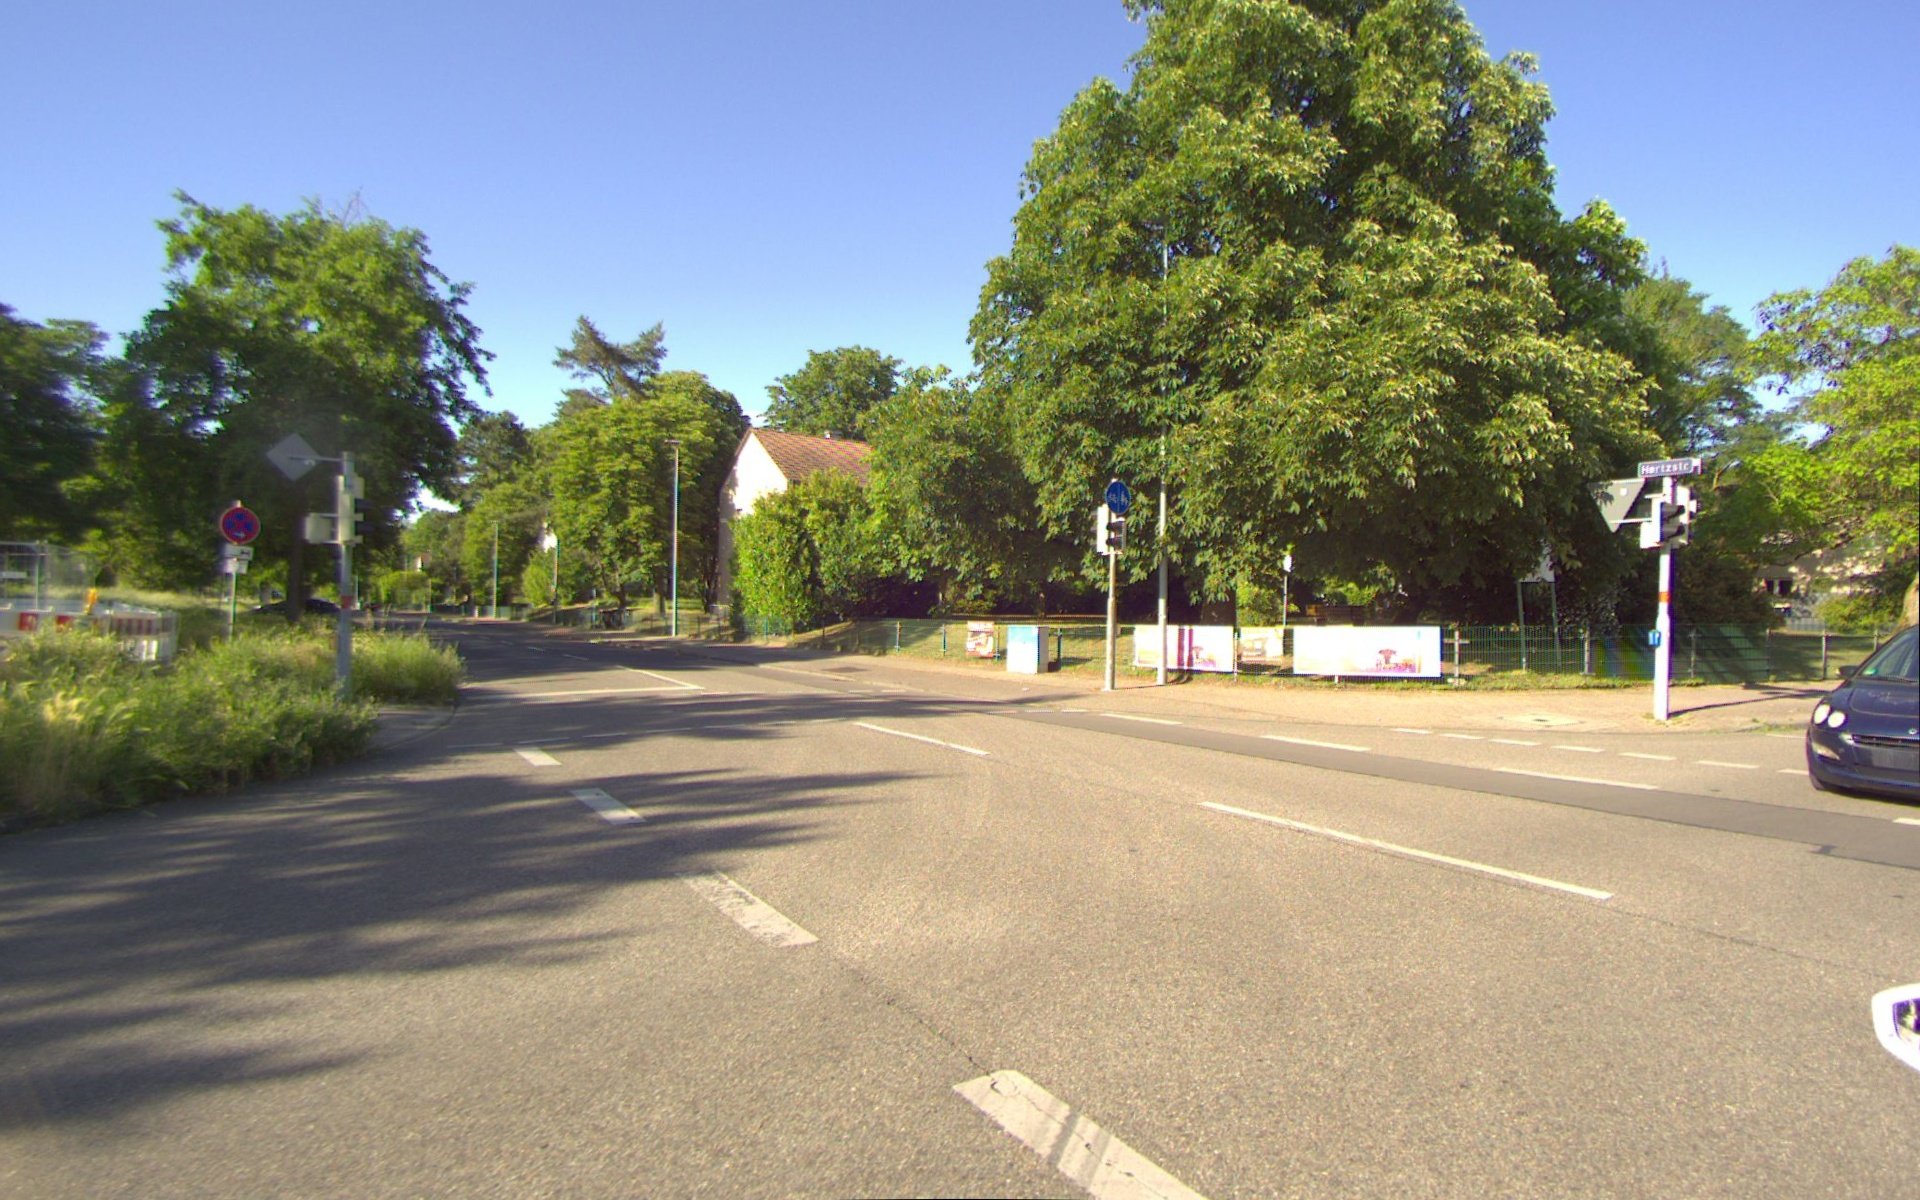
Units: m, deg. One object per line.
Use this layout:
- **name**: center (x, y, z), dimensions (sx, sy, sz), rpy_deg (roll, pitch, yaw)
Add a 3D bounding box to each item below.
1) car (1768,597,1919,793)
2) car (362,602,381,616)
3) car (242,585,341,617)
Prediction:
- **car**: center (8.815, 0.766, 8.591), dimensions (3.807, 1.474, 1.797), rpy_deg (2, -1, -31)
- **car**: center (-90.651, 1.406, 154.655), dimensions (1.982, 2.041, 3.956), rpy_deg (-1, 2, -38)
- **car**: center (-32.531, 0.036, 48.992), dimensions (3.955, 1.441, 1.627), rpy_deg (0, 2, -32)
